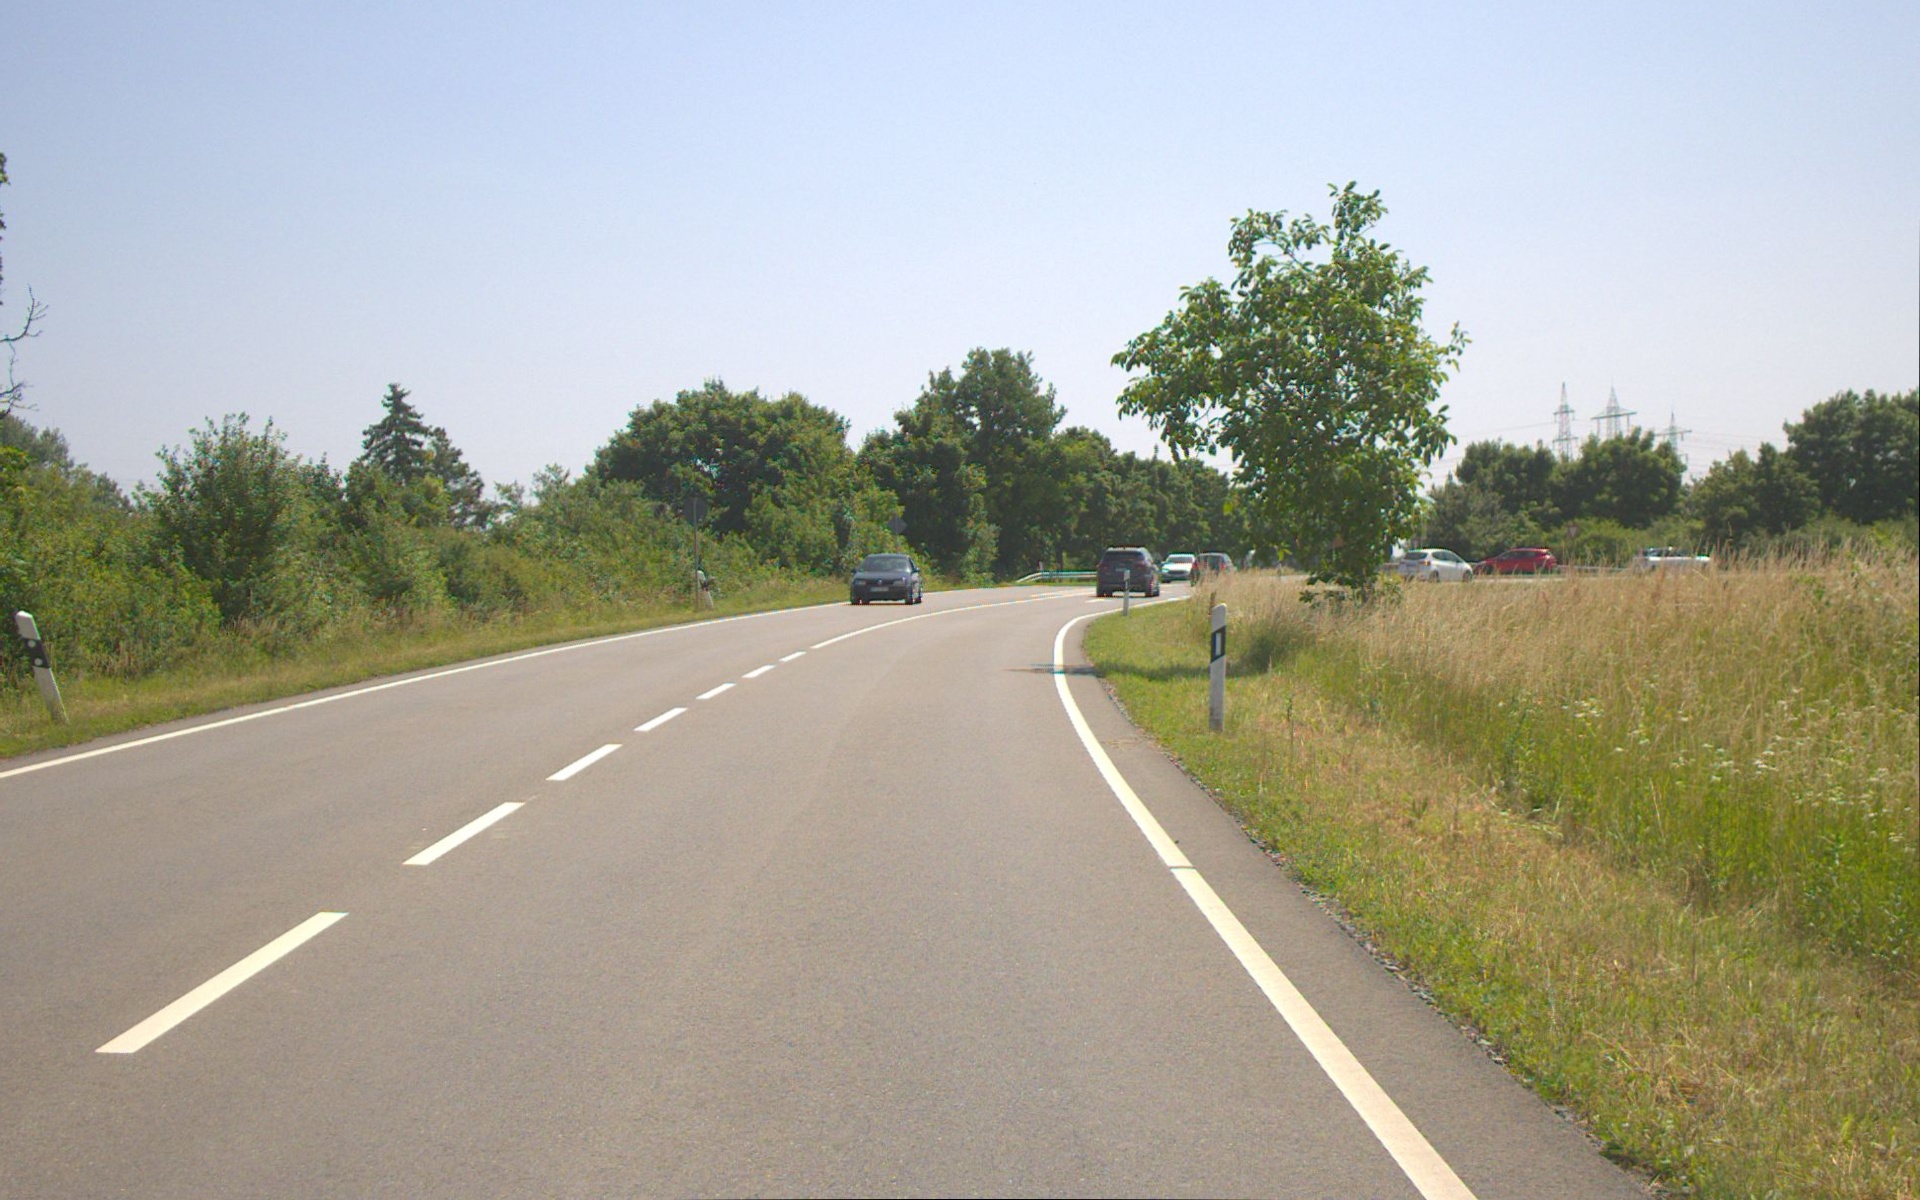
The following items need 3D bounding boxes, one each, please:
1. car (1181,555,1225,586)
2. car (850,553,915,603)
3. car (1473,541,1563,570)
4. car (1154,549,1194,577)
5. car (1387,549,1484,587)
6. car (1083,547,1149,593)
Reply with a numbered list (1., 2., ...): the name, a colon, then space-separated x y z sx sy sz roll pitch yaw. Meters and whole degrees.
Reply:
1. car: 10.763 -1.326 152.119 1.644 1.336 4.038 1 1 8
2. car: -2.157 -0.611 96.409 1.692 1.358 3.826 1 1 1
3. car: 27.878 -2.223 171.787 4.157 1.414 1.777 0 0 23
4. car: 11.062 -1.930 177.506 1.836 1.414 4.714 1 1 6
5. car: 21.296 -1.426 154.003 4.131 1.618 2.070 -2 1 -41
6. car: 5.309 -1.020 116.760 1.885 1.513 4.038 1 1 8
